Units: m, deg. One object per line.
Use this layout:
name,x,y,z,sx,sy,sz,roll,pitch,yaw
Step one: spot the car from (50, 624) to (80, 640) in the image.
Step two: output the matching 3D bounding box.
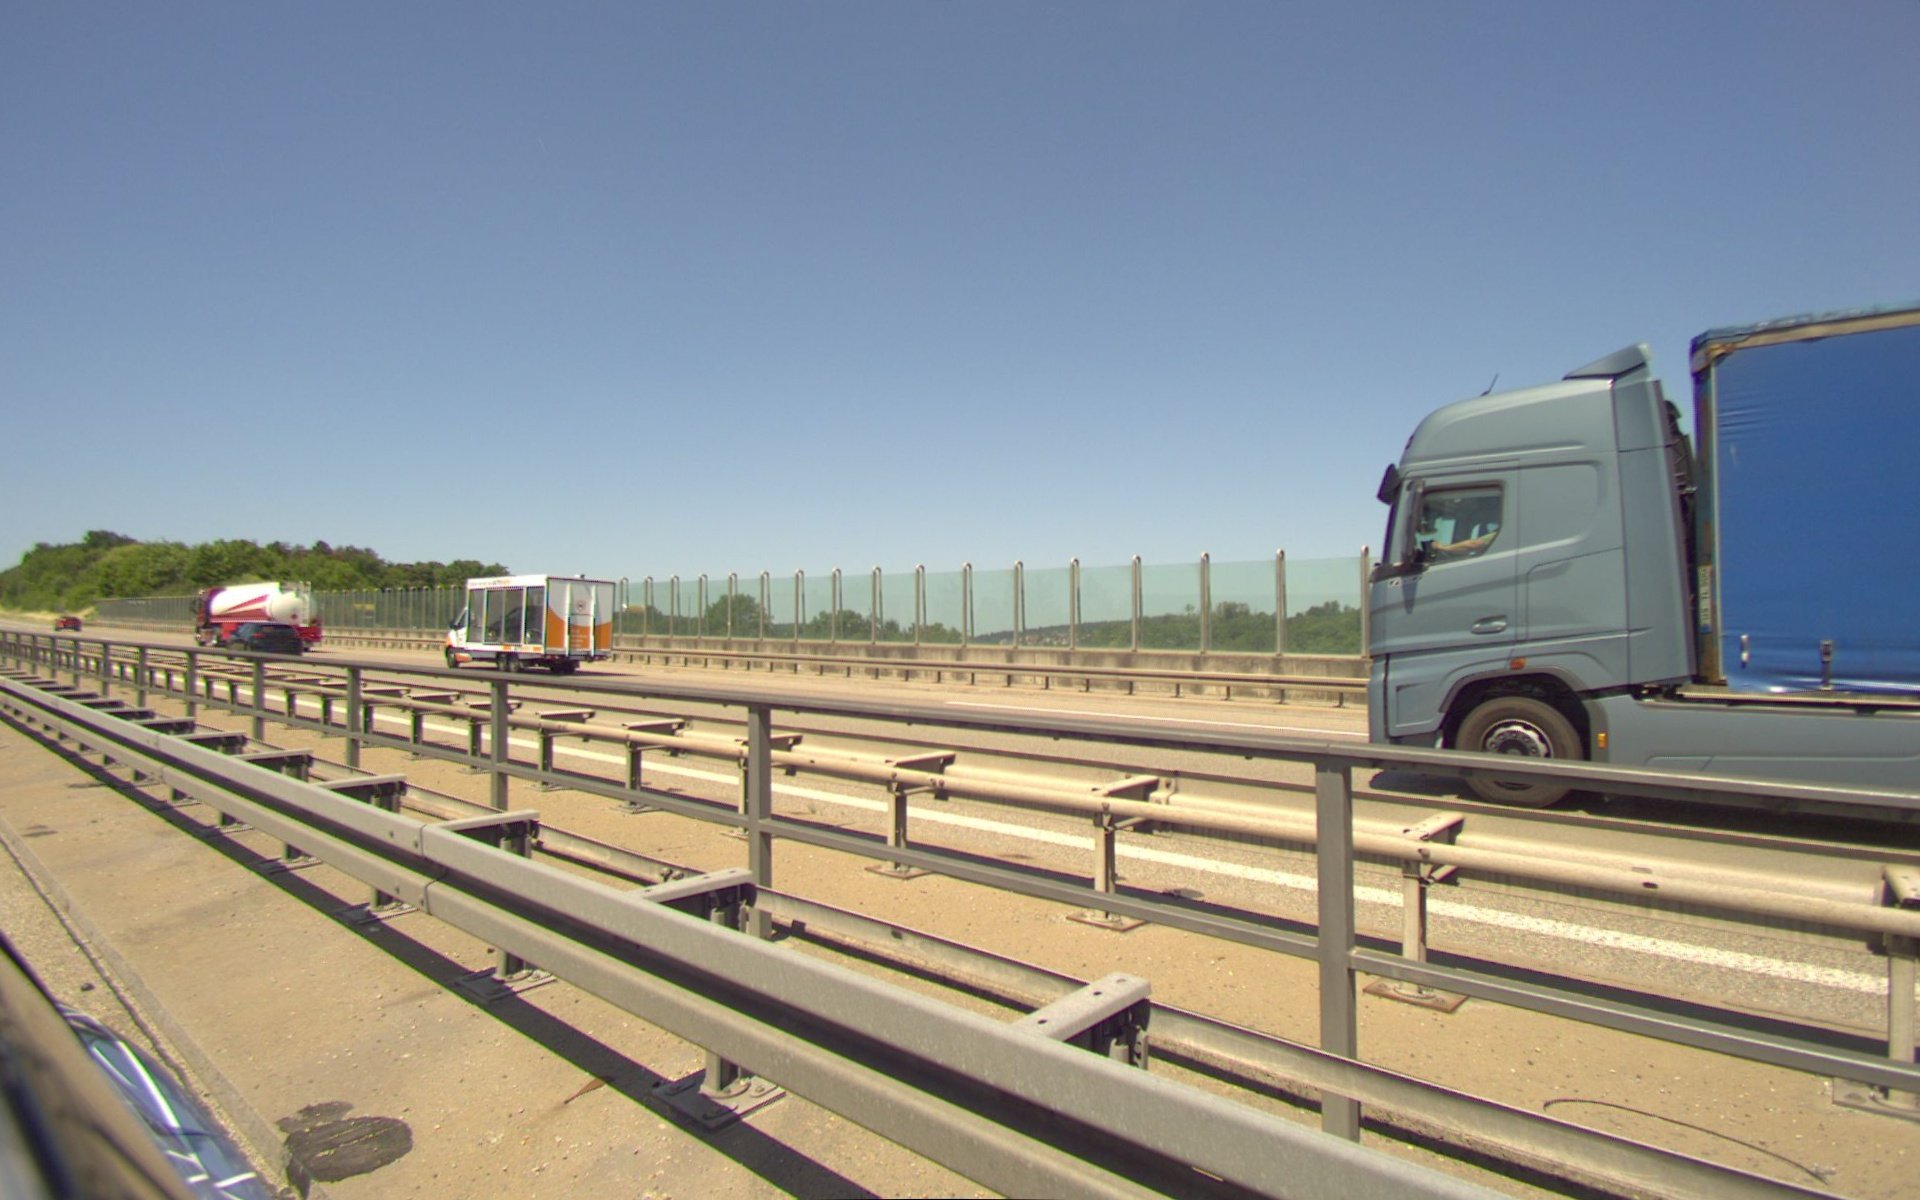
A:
car,-88.225,3.123,99.741,3.999,1.431,1.763,0,-4,42

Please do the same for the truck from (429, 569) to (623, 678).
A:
truck,-14.563,0.791,33.557,8.291,3.213,2.535,0,-4,42

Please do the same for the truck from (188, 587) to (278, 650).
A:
truck,-41.917,1.068,58.292,6.294,3.441,2.877,0,-3,43

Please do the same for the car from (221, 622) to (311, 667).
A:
car,-25.236,1.583,36.777,3.850,1.510,1.779,0,-2,41

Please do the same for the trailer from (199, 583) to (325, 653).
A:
trailer,-37.679,0.958,54.375,12.006,3.405,2.845,0,-3,43

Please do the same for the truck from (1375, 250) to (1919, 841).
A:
truck,7.162,-0.355,8.540,6.262,4.148,2.724,0,-2,41
